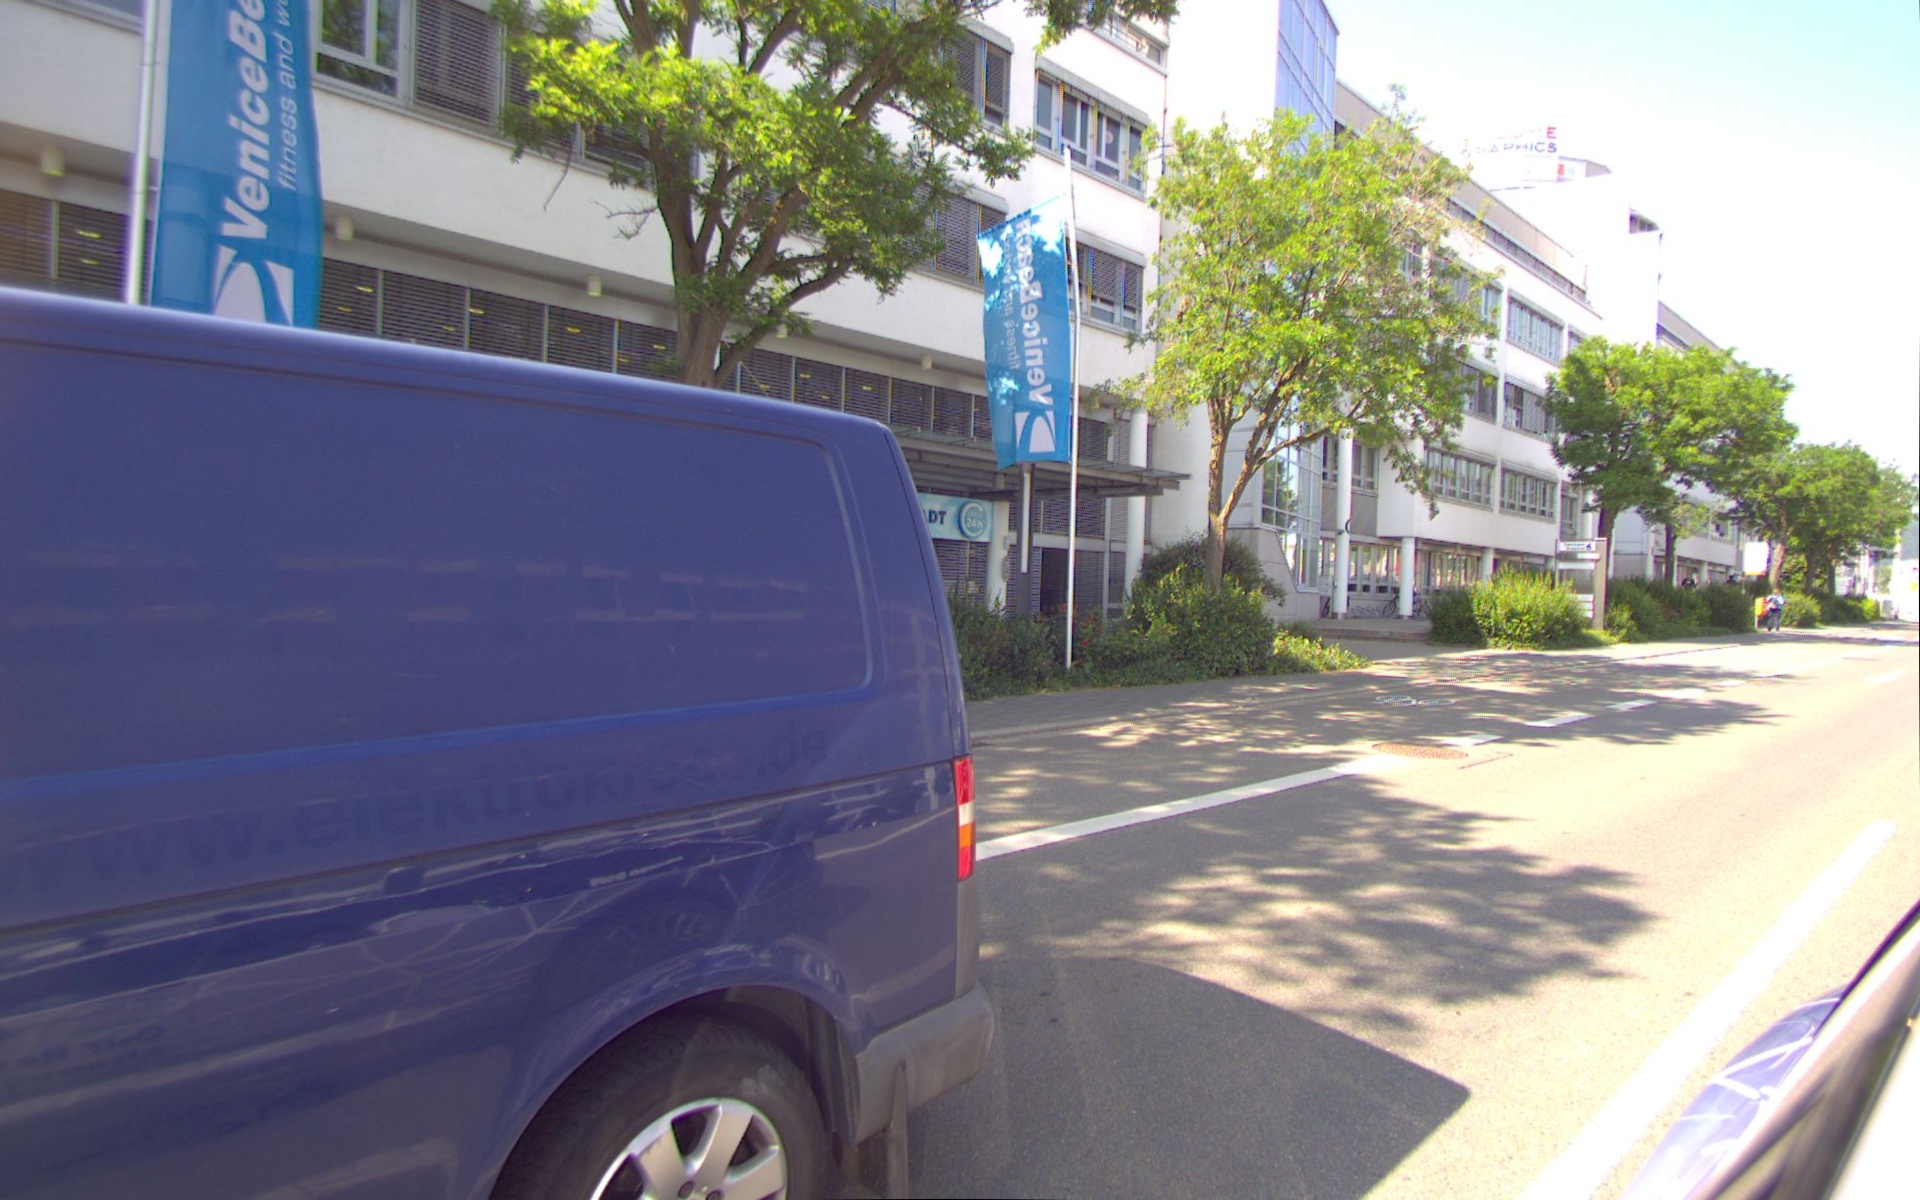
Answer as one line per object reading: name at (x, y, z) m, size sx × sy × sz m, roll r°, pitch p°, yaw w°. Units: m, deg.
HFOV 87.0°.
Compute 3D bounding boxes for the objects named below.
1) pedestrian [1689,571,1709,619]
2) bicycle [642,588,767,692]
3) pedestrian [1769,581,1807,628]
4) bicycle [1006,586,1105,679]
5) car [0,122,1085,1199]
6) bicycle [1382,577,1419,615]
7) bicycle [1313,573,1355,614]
pedestrian at (40.251, -0.299, 55.134) m, size 0.704 × 2.581 × 0.716 m, roll 0°, pitch 1°, yaw -43°
bicycle at (-3.643, 0.535, 14.375) m, size 1.868 × 1.346 × 0.501 m, roll 2°, pitch 1°, yaw 30°
pedestrian at (35.170, 0.172, 42.962) m, size 1.267 × 1.909 × 0.942 m, roll 0°, pitch 4°, yaw -41°
bicycle at (1.495, 0.476, 15.608) m, size 0.504 × 1.346 × 1.856 m, roll 2°, pitch 1°, yaw 41°
car at (-2.167, 0.408, 1.601) m, size 4.806 × 1.972 × 1.997 m, roll -1°, pitch 2°, yaw -41°
bicycle at (16.332, -0.152, 37.513) m, size 1.852 × 1.371 × 0.506 m, roll 0°, pitch 1°, yaw -41°
bicycle at (12.892, -0.220, 34.889) m, size 1.852 × 1.371 × 0.506 m, roll 0°, pitch 1°, yaw -41°
